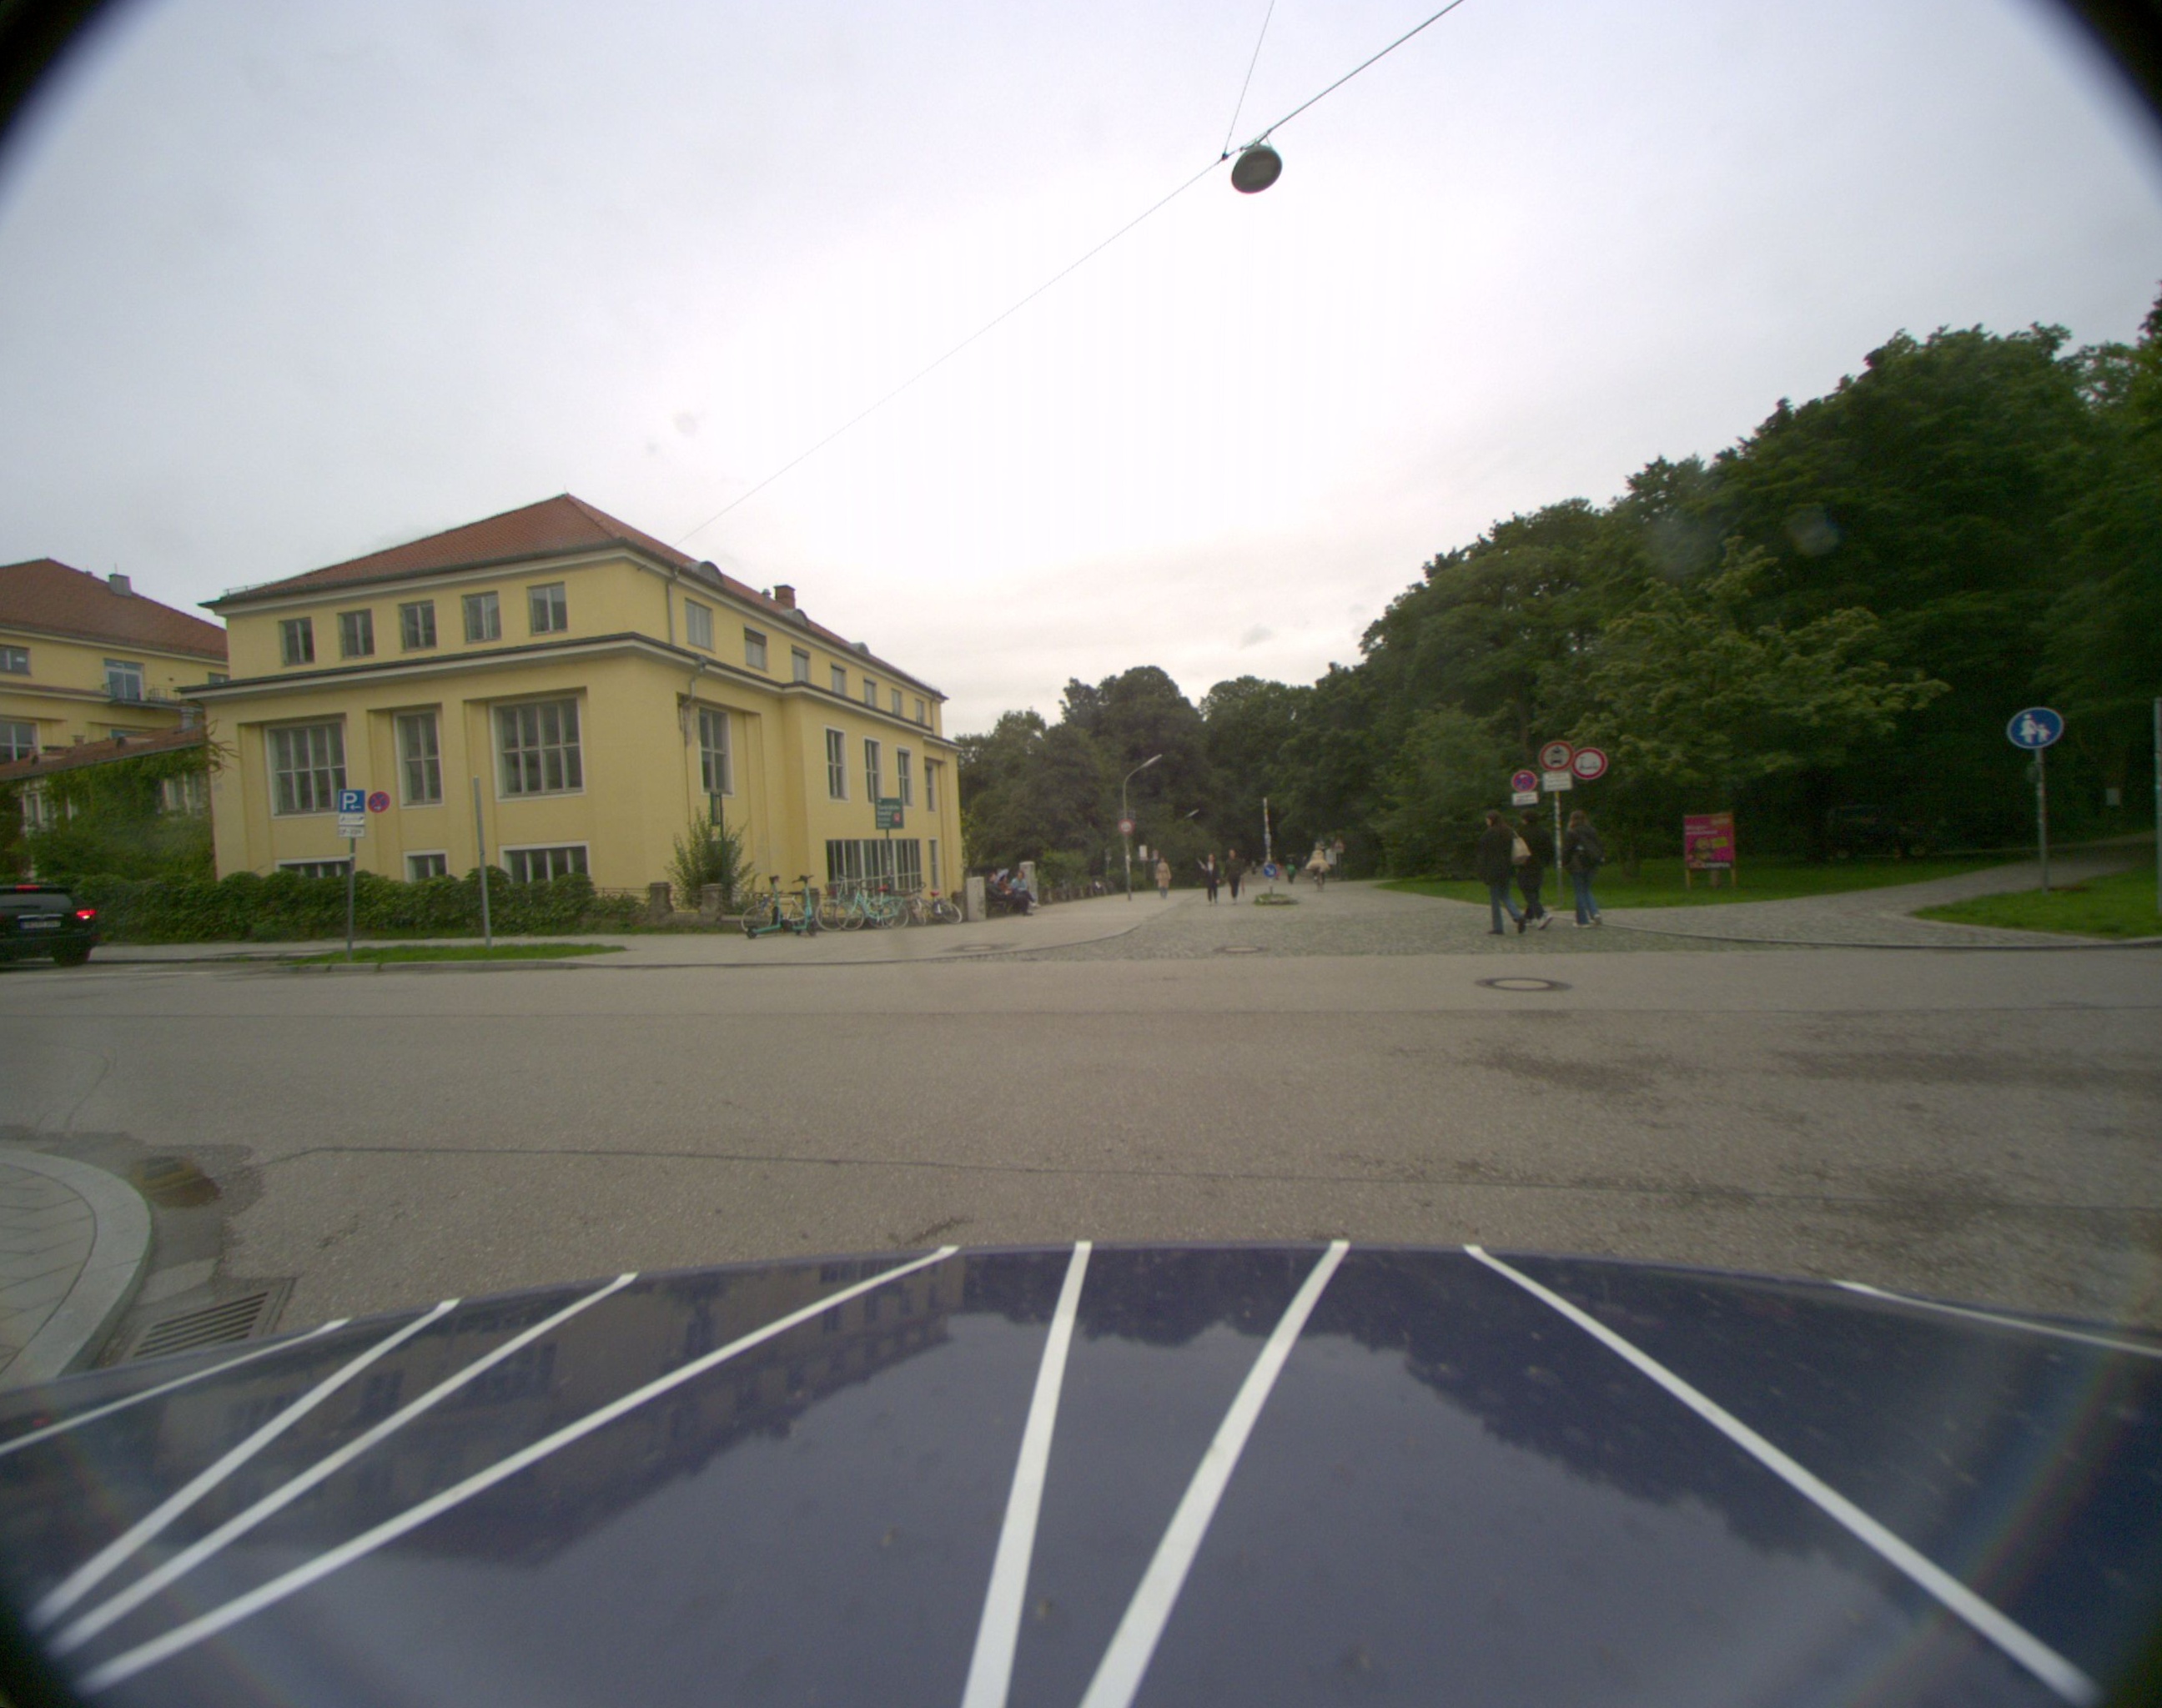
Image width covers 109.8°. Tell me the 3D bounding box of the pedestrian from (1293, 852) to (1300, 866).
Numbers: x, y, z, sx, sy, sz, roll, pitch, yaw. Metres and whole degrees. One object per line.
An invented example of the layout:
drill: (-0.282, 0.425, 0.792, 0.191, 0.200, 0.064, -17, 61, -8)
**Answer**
pedestrian: (27.944, 0.680, 98.542, 0.741, 1.662, 0.922, -5, -3, 13)

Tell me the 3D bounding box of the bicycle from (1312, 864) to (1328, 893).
bicycle: (9.349, 0.938, 29.744, 0.482, 1.034, 1.948, -3, 0, 15)

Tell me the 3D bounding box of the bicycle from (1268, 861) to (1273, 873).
bicycle: (19.309, 1.348, 77.374, 0.463, 1.054, 1.762, -3, 3, 12)

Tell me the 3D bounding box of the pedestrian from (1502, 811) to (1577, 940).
pedestrian: (6.992, 0.328, 11.617, 0.707, 1.892, 0.804, -2, -1, 12)

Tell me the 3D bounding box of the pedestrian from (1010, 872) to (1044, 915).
pedestrian: (-1.620, 1.184, 22.867, 0.887, 1.227, 0.551, -4, -2, 2)

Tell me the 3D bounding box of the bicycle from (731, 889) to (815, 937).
bicycle: (-6.599, 1.260, 16.321, 1.655, 0.987, 0.248, -1, -1, -12)

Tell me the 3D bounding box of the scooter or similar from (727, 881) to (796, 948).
scooter or similar: (-6.435, 1.196, 15.360, 0.396, 1.240, 1.392, -2, -1, 21)

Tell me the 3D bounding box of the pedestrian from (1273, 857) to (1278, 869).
pedestrian: (22.291, 1.032, 87.078, 0.471, 1.259, 0.448, -3, 3, 12)

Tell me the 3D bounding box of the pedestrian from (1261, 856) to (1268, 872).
pedestrian: (20.589, 1.145, 85.224, 0.685, 1.662, 0.775, -5, -3, 13)

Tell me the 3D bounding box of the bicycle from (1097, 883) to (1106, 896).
bicycle: (1.043, 1.786, 38.411, 0.215, 0.671, 0.910, -1, -1, 15)

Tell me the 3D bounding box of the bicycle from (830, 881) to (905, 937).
bicycle: (-4.798, 1.222, 17.176, 1.657, 1.184, 0.202, 0, -1, -37)

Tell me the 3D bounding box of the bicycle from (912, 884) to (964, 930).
bicycle: (-3.482, 1.279, 18.631, 0.307, 1.032, 1.657, -1, -1, 27)

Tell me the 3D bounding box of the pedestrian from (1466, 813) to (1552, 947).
pedestrian: (6.161, 0.369, 11.000, 0.750, 1.822, 1.116, -2, -1, 12)

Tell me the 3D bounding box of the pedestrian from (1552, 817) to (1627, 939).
pedestrian: (7.639, 0.363, 11.451, 0.634, 1.771, 0.802, -2, -1, 12)

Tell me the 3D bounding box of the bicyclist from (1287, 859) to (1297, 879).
bicyclist: (14.168, 1.008, 50.950, 0.563, 1.366, 0.762, -3, -1, 12)

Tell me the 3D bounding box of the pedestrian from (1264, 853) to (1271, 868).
pedestrian: (22.248, 0.767, 90.501, 0.685, 1.662, 0.775, -5, -3, 13)

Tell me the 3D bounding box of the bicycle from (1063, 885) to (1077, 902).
bicycle: (-0.441, 1.651, 31.542, 0.215, 0.671, 0.911, -1, -1, 24)

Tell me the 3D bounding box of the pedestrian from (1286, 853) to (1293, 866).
pedestrian: (27.123, 0.720, 98.714, 0.741, 1.662, 0.922, -5, -3, 13)

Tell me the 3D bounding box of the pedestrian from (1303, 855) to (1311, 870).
pedestrian: (24.765, 0.930, 83.229, 0.685, 1.662, 0.775, -5, -3, 13)

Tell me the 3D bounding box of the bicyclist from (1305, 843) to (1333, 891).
bicyclist: (9.243, 0.496, 29.545, 0.855, 1.792, 0.767, -4, 1, 12)

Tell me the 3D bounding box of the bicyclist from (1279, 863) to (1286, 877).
bicyclist: (18.566, 1.460, 69.906, 0.563, 1.259, 0.762, -3, 3, 12)

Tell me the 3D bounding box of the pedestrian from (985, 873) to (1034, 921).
pedestrian: (-1.993, 1.194, 21.313, 1.216, 1.239, 0.640, -4, -2, 2)

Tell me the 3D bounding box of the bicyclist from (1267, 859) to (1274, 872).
bicyclist: (19.285, 1.156, 77.403, 0.563, 1.259, 0.762, -3, 3, 12)

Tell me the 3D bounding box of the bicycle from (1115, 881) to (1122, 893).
bicycle: (2.114, 1.843, 42.806, 0.241, 0.653, 0.910, -1, -1, 13)

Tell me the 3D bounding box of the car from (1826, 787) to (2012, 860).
car: (27.786, -0.992, 25.409, 3.958, 2.092, 1.908, -3, 1, 43)

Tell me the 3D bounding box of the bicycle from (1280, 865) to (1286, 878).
bicycle: (18.581, 1.637, 69.931, 0.463, 1.054, 1.762, -3, 3, 12)

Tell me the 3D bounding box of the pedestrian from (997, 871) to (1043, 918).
pedestrian: (-1.776, 1.180, 22.232, 1.177, 1.285, 0.640, -4, -2, 2)

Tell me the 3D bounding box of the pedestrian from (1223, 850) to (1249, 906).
pedestrian: (4.802, 0.754, 23.473, 0.638, 1.662, 0.775, -5, -3, 13)

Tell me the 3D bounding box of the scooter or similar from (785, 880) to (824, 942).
scooter or similar: (-5.582, 1.132, 15.316, 0.324, 1.205, 1.115, -2, -1, -41)

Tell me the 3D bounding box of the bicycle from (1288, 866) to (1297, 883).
bicycle: (14.197, 1.369, 50.978, 0.463, 1.053, 1.764, -3, -1, 12)

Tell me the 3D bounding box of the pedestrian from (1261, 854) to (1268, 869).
pedestrian: (21.399, 0.869, 88.549, 0.685, 1.662, 0.775, -5, -3, 13)

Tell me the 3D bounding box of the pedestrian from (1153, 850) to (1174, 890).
pedestrian: (3.570, 0.707, 32.755, 0.653, 1.676, 0.976, -5, -3, 13)

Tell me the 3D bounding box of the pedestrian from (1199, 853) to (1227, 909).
pedestrian: (4.095, 0.843, 23.536, 0.685, 1.662, 0.775, -5, -3, 13)

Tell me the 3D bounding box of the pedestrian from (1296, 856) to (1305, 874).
pedestrian: (21.719, 1.094, 75.185, 0.685, 1.662, 0.775, -5, -3, 13)

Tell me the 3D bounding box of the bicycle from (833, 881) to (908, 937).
bicycle: (-4.692, 1.209, 17.009, 1.657, 1.191, 0.169, 0, -1, -37)

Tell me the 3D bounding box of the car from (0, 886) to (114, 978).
car: (-22.653, 1.613, 15.421, 4.618, 1.698, 1.939, -3, 0, 14)
